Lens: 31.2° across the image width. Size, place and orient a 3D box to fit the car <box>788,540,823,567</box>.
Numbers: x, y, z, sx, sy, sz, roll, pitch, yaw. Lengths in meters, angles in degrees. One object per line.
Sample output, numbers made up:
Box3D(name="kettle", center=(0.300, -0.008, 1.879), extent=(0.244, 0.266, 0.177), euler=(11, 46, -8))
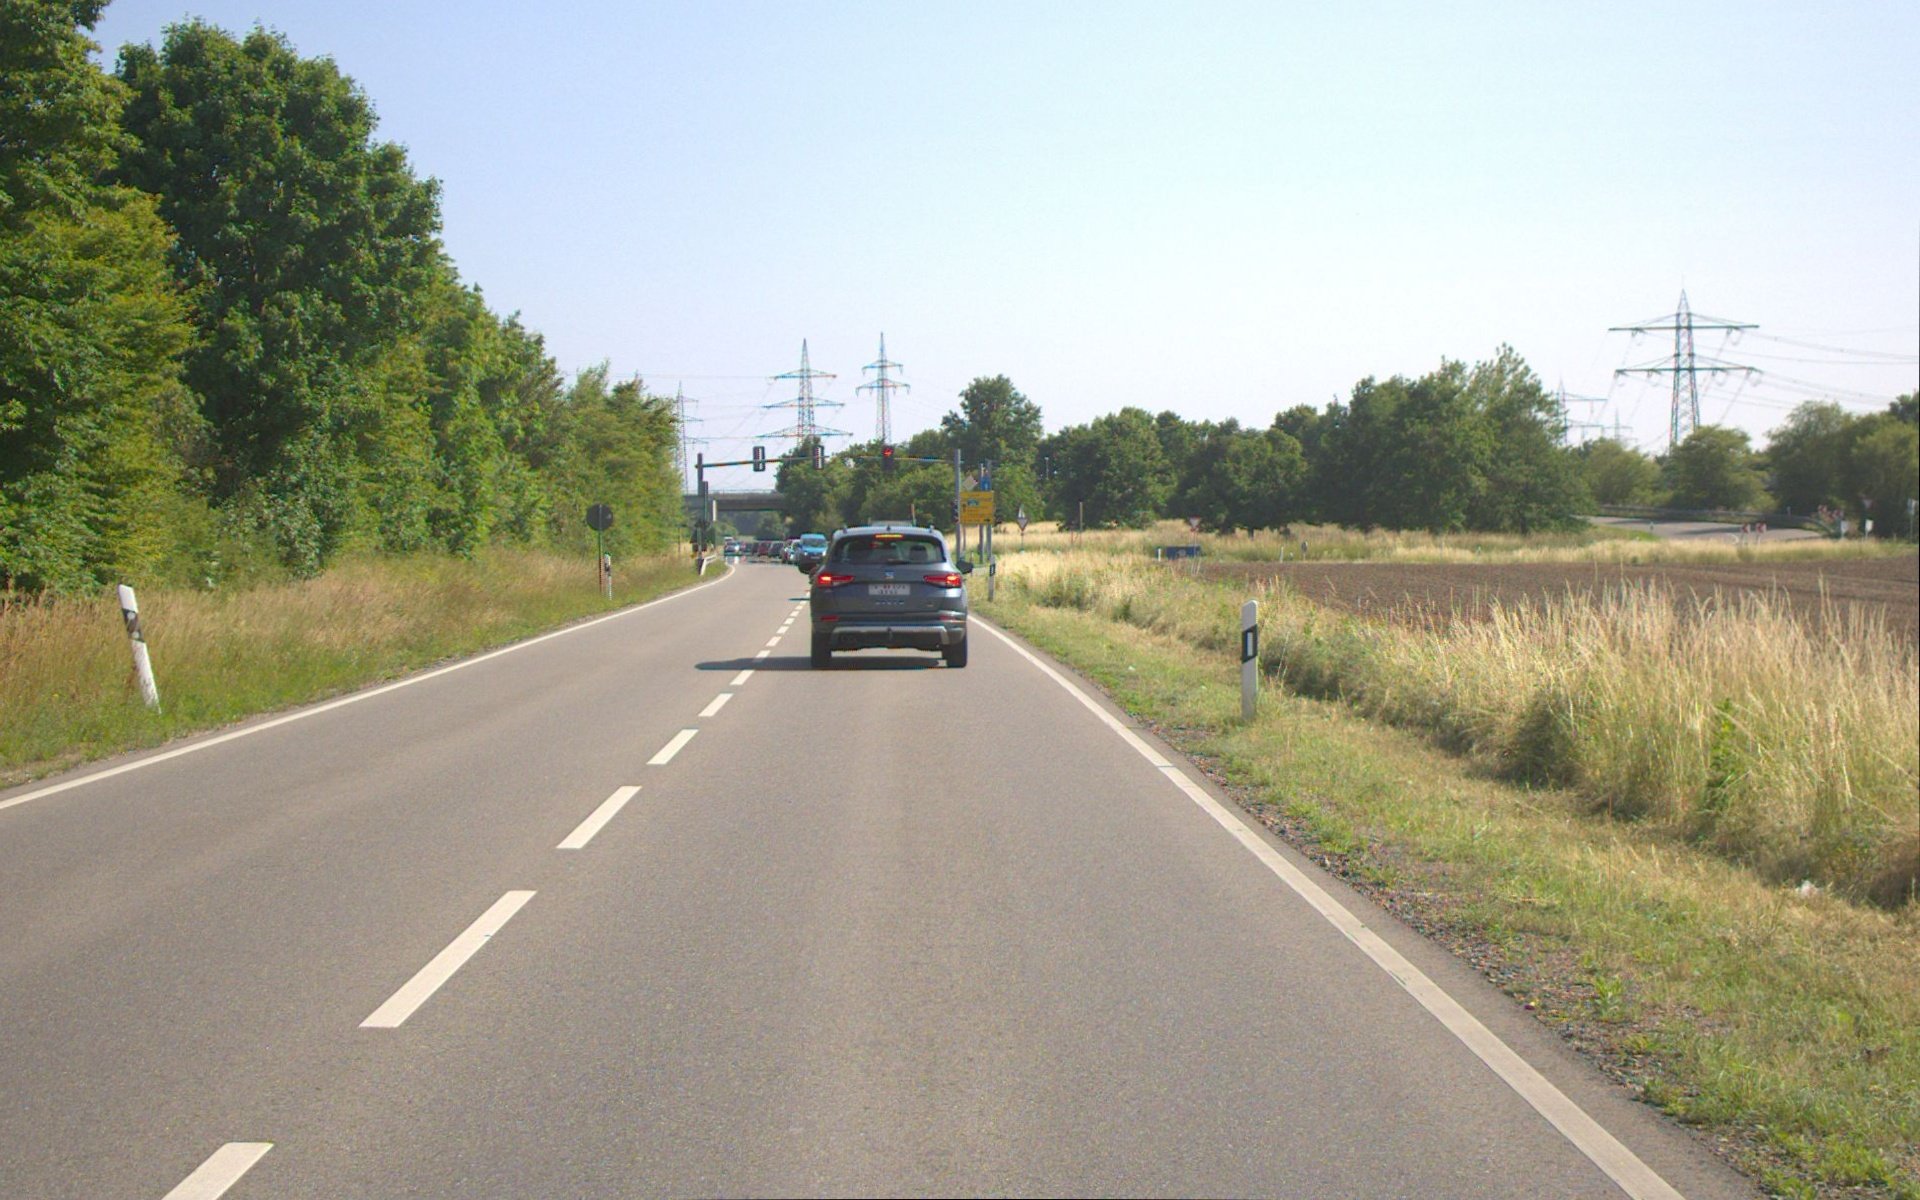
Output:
Box3D(name="car", center=(-9.051, -2.729, 201.077), extent=(1.816, 1.535, 4.001), euler=(-1, 1, -5))

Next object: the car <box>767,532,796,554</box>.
Box3D(name="car", center=(-11.491, -3.660, 221.139), extent=(1.684, 1.375, 3.534), euler=(0, 1, -5))

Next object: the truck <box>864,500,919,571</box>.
Box3D(name="truck", center=(-3.004, -2.812, 151.102), extent=(2.337, 3.055, 5.810), euler=(0, 1, -1))

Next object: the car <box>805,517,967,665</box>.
Box3D(name="car", center=(-0.884, -0.148, 40.024), extent=(1.785, 1.623, 4.001), euler=(0, 1, -2))
